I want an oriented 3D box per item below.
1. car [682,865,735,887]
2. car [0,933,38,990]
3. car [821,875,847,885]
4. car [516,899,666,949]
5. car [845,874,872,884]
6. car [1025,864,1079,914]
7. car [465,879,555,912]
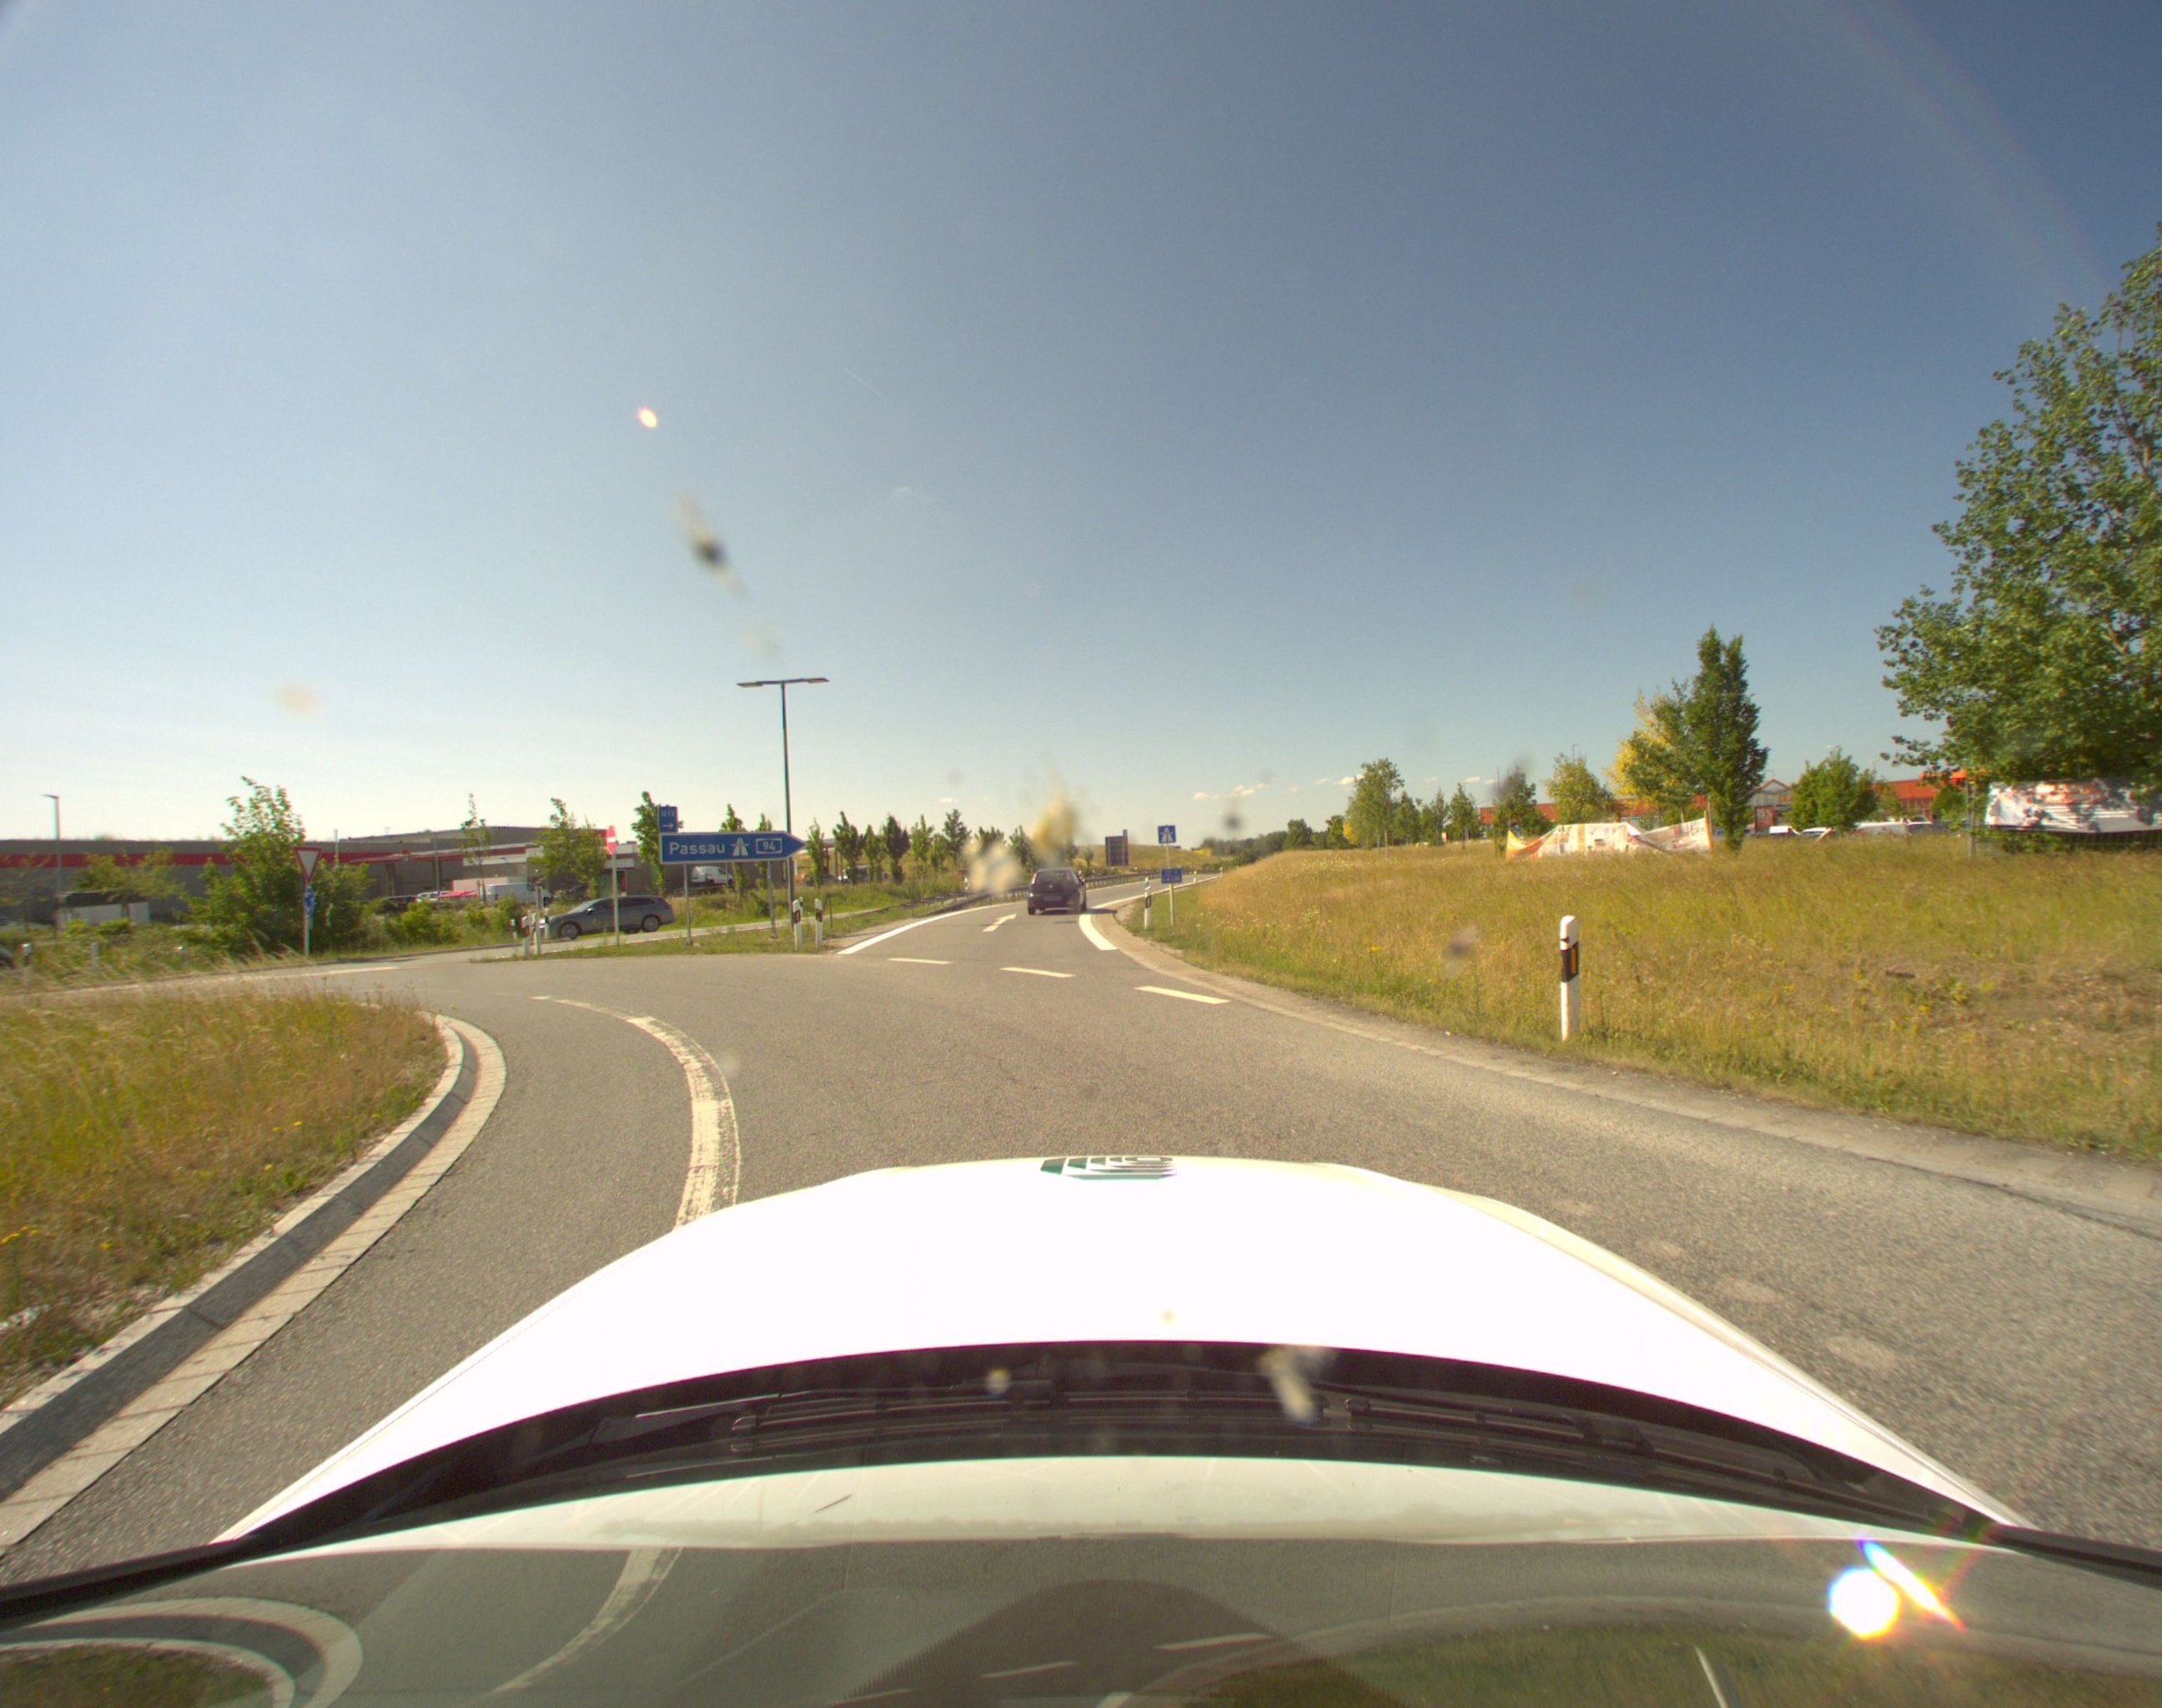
[{"bbox_3d":[-32.823,1.897,71.832,1.978,1.732,4.017,-3,-1,16],"label":"car"},{"bbox_3d":[-30.403,2.977,21.196,3.593,1.413,1.677,-3,-1,-29],"label":"car"},{"bbox_3d":[-29.655,3.074,97.799,2.683,1.009,1.250,-3,-1,10],"label":"car"},{"bbox_3d":[-17.922,2.521,30.007,1.671,1.413,4.394,-3,-1,32],"label":"car"},{"bbox_3d":[-27.002,3.011,98.907,2.683,1.009,1.386,-3,-1,10],"label":"car"},{"bbox_3d":[-0.919,1.132,27.300,1.634,1.487,3.903,-2,-1,-1],"label":"car"},{"bbox_3d":[-41.137,2.956,58.828,1.979,2.013,5.156,-3,0,15],"label":"car"}]
